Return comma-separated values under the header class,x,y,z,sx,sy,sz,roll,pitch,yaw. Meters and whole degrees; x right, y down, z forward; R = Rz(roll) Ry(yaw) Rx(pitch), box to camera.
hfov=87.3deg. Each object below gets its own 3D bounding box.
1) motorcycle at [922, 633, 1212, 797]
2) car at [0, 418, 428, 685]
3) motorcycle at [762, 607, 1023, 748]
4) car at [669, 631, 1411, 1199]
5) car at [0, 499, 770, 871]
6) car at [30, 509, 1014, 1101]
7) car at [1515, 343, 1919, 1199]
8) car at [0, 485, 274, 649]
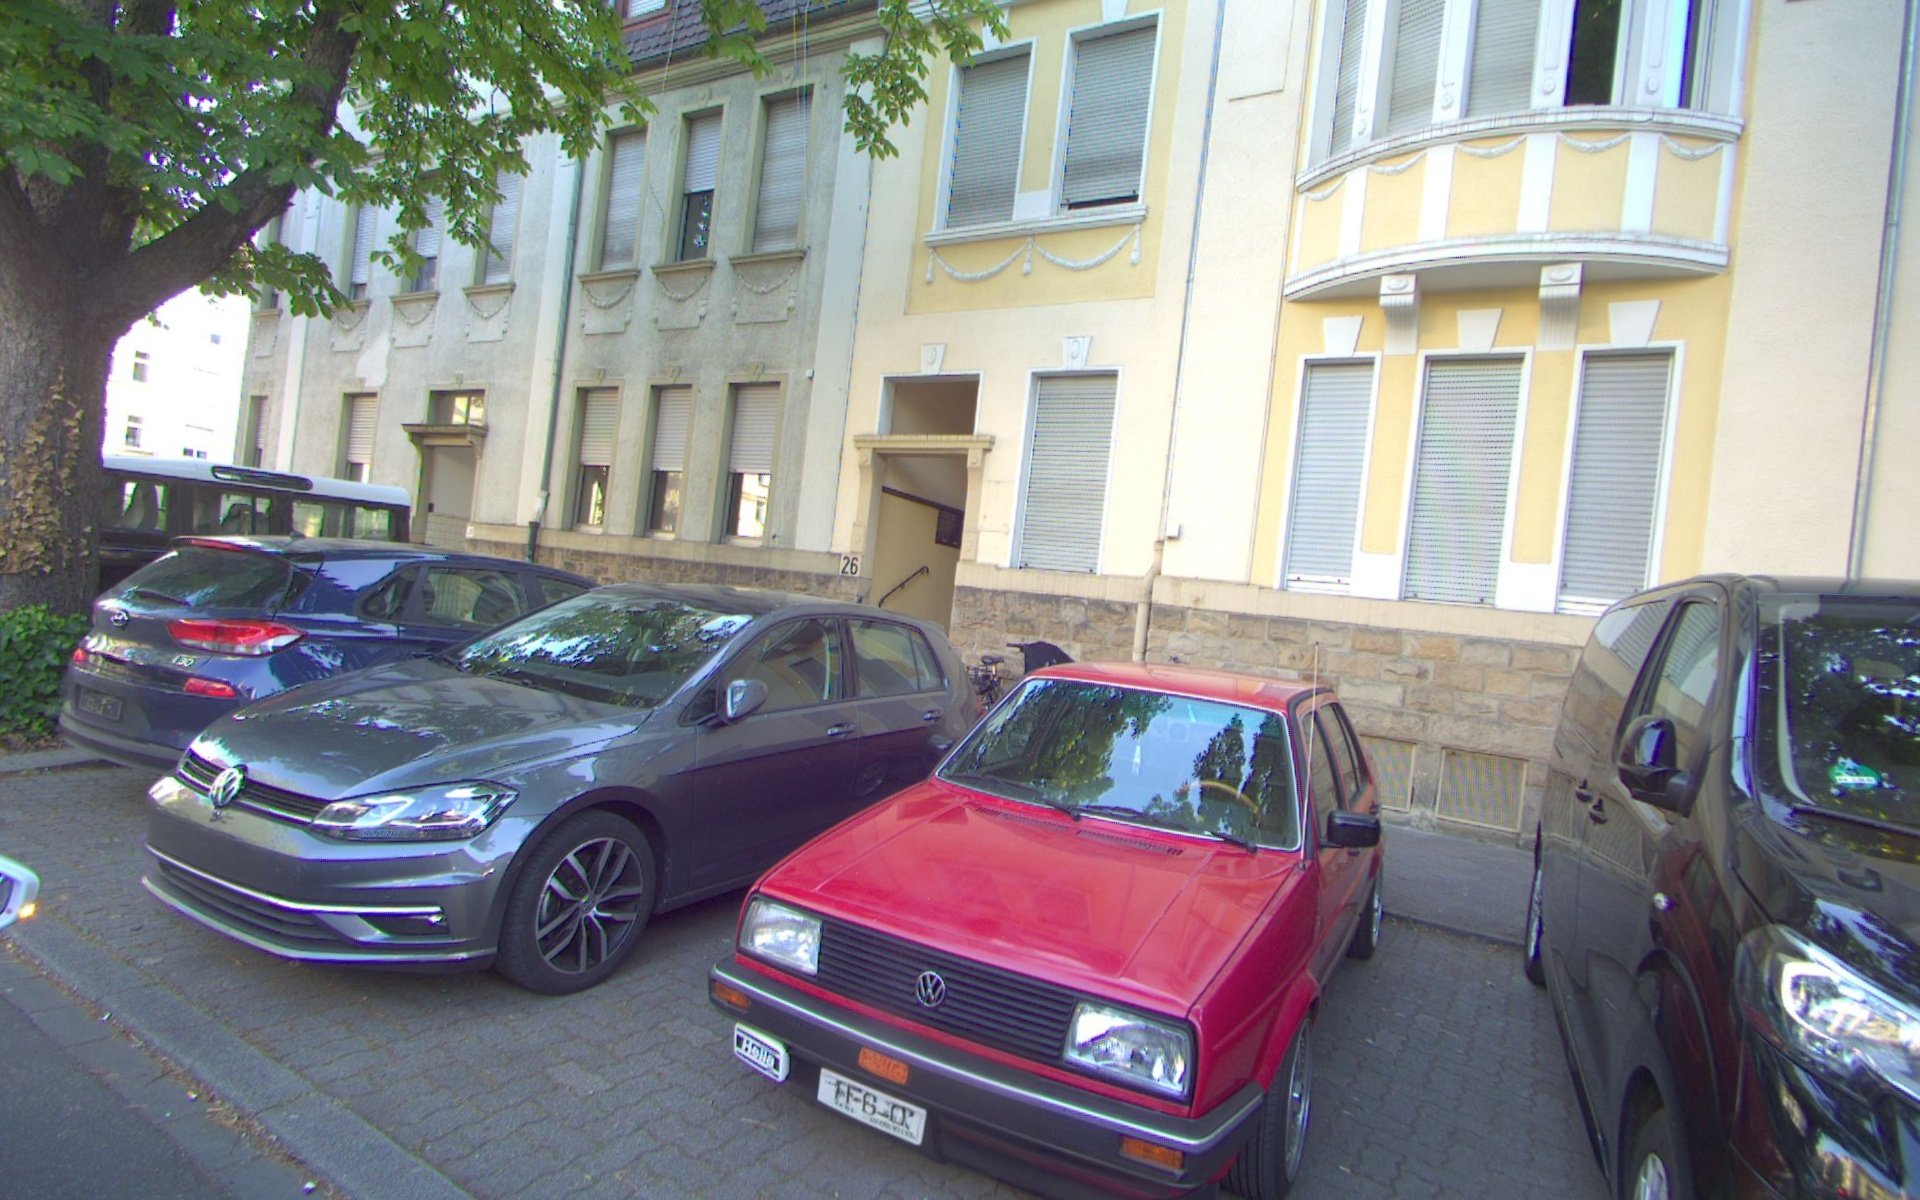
class,x,y,z,sx,sy,sz,roll,pitch,yaw
motorcycle,0.962,0.994,9.398,2.439,1.087,0.959,7,2,32
car,-7.586,-0.370,9.239,1.671,2.061,4.473,6,0,28
motorcycle,-0.783,0.773,10.788,2.822,1.087,0.694,7,2,31
car,0.882,0.944,4.308,1.601,1.332,4.144,6,0,27
car,-3.079,0.423,6.202,1.679,1.470,3.730,6,0,28
car,-1.426,0.620,4.820,1.693,1.470,4.060,6,0,28
car,2.859,0.868,2.881,1.864,1.898,4.759,6,0,27
car,-9.981,-0.387,10.940,1.679,1.589,3.730,6,0,28
